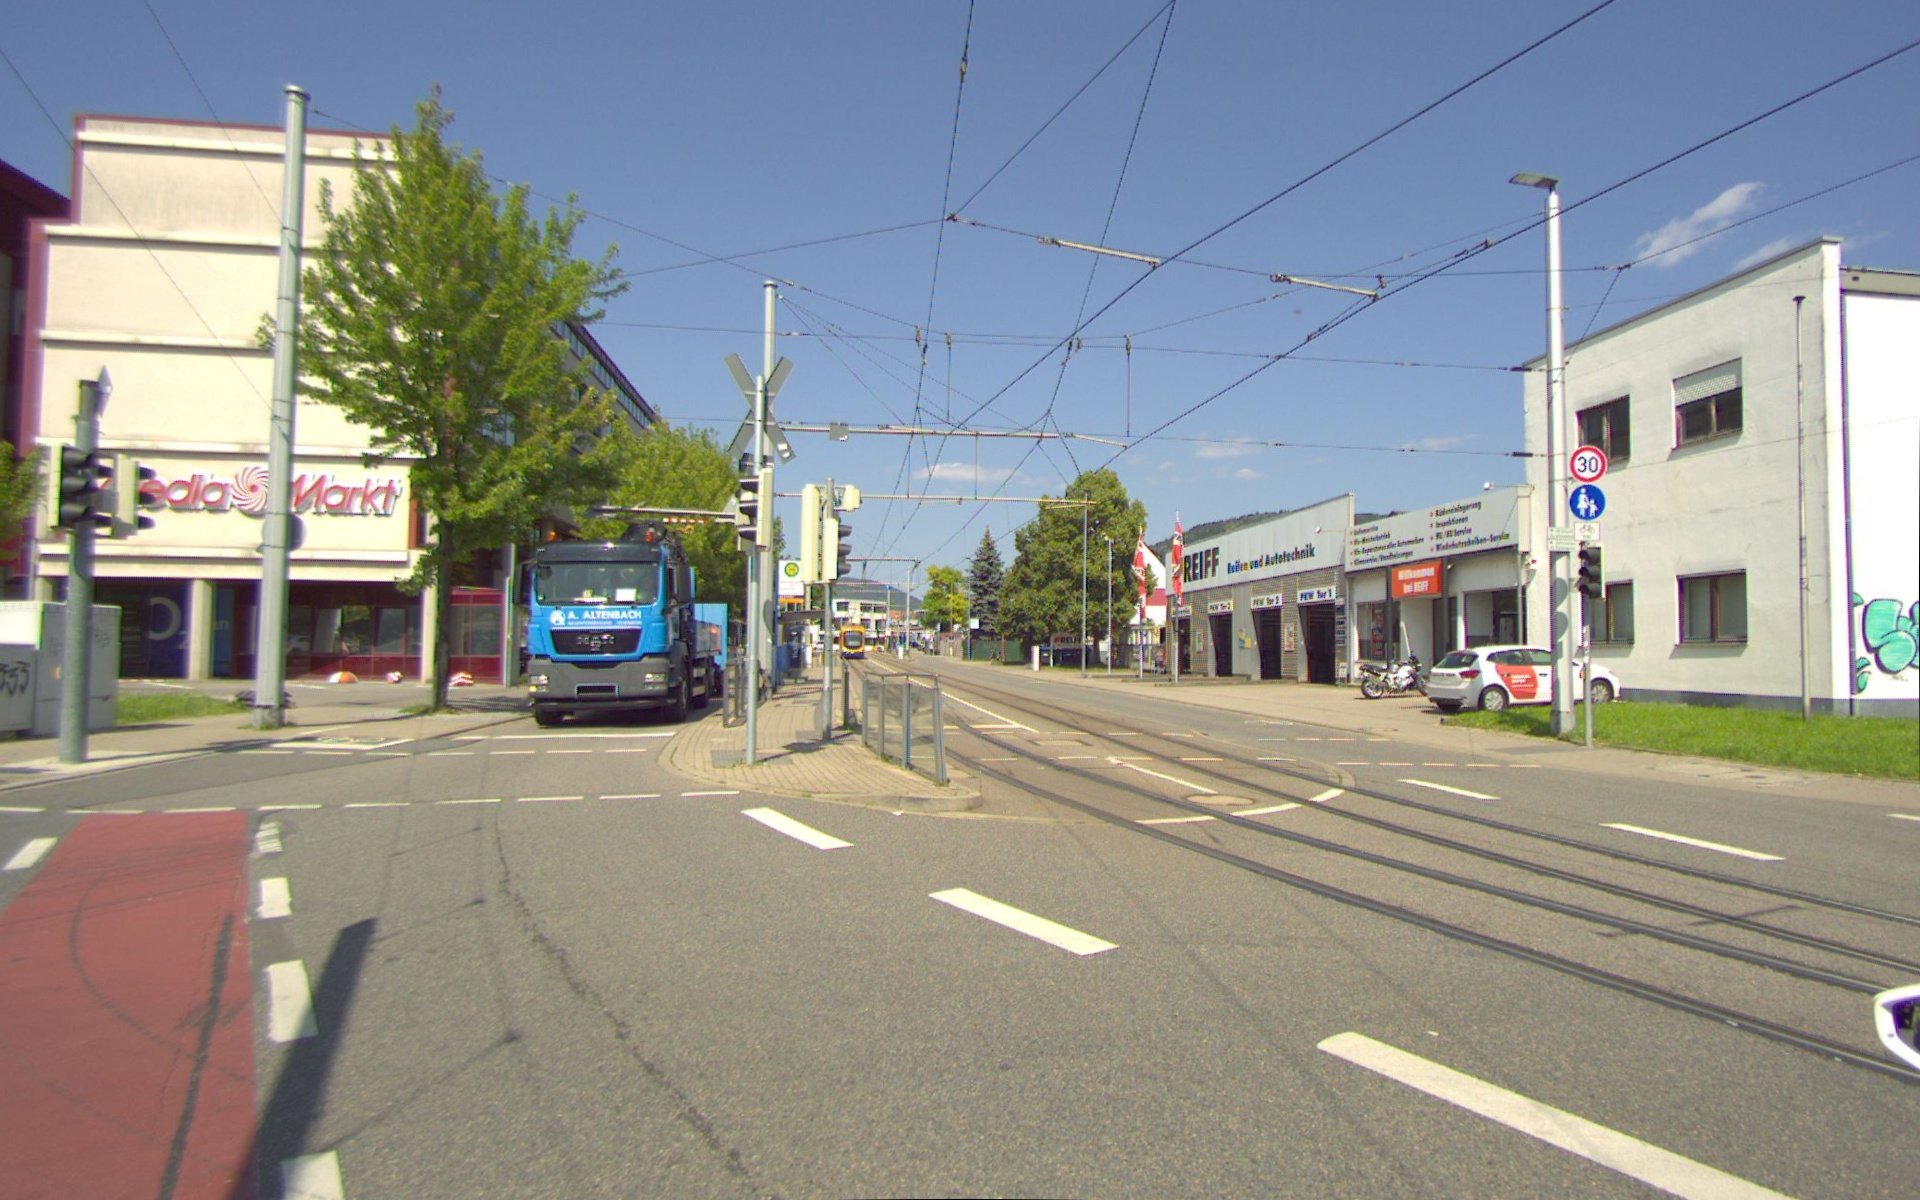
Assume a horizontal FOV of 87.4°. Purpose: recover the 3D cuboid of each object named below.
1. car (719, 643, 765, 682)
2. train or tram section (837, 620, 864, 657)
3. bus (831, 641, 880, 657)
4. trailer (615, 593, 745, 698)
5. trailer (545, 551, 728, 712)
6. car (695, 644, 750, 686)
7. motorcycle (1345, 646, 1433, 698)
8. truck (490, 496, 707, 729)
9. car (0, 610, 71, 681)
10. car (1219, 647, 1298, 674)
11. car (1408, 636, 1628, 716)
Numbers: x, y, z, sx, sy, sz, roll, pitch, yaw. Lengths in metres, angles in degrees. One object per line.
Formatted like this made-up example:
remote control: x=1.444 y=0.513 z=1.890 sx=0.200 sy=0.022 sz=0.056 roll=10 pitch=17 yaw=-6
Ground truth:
car: x=-9.736 y=2.759 z=45.070 sx=1.696 sy=1.605 sz=4.067 roll=-2 pitch=-2 yaw=-8
train or tram section: x=-10.884 y=3.814 z=99.442 sx=2.571 sy=3.579 sz=5.737 roll=0 pitch=-2 yaw=-8
bus: x=-19.279 y=9.073 z=185.925 sx=8.615 sy=2.917 sz=2.445 roll=1 pitch=-2 yaw=3
trailer: x=-8.012 y=1.331 z=29.674 sx=2.755 sy=2.662 sz=7.591 roll=1 pitch=-2 yaw=-9
trailer: x=-6.911 y=0.741 z=22.506 sx=2.702 sy=3.016 sz=6.890 roll=1 pitch=-2 yaw=-8
car: x=-9.229 y=2.489 z=39.294 sx=1.696 sy=1.492 sz=4.275 roll=-1 pitch=-2 yaw=-8
motorcycle: x=12.035 y=2.013 z=28.227 sx=2.150 sy=1.325 sz=0.730 roll=-2 pitch=-2 yaw=-9
truck: x=-6.339 y=0.300 z=18.452 sx=2.702 sy=3.656 sz=5.034 roll=1 pitch=-2 yaw=-8
car: x=-23.657 y=0.968 z=22.510 sx=2.148 sy=1.614 sz=5.109 roll=-3 pitch=-6 yaw=30
car: x=15.880 y=3.235 z=53.483 sx=3.708 sy=1.394 sz=1.722 roll=1 pitch=-2 yaw=-12
car: x=12.453 y=1.667 z=22.524 sx=3.927 sy=1.481 sz=1.888 roll=-3 pitch=-2 yaw=-9
